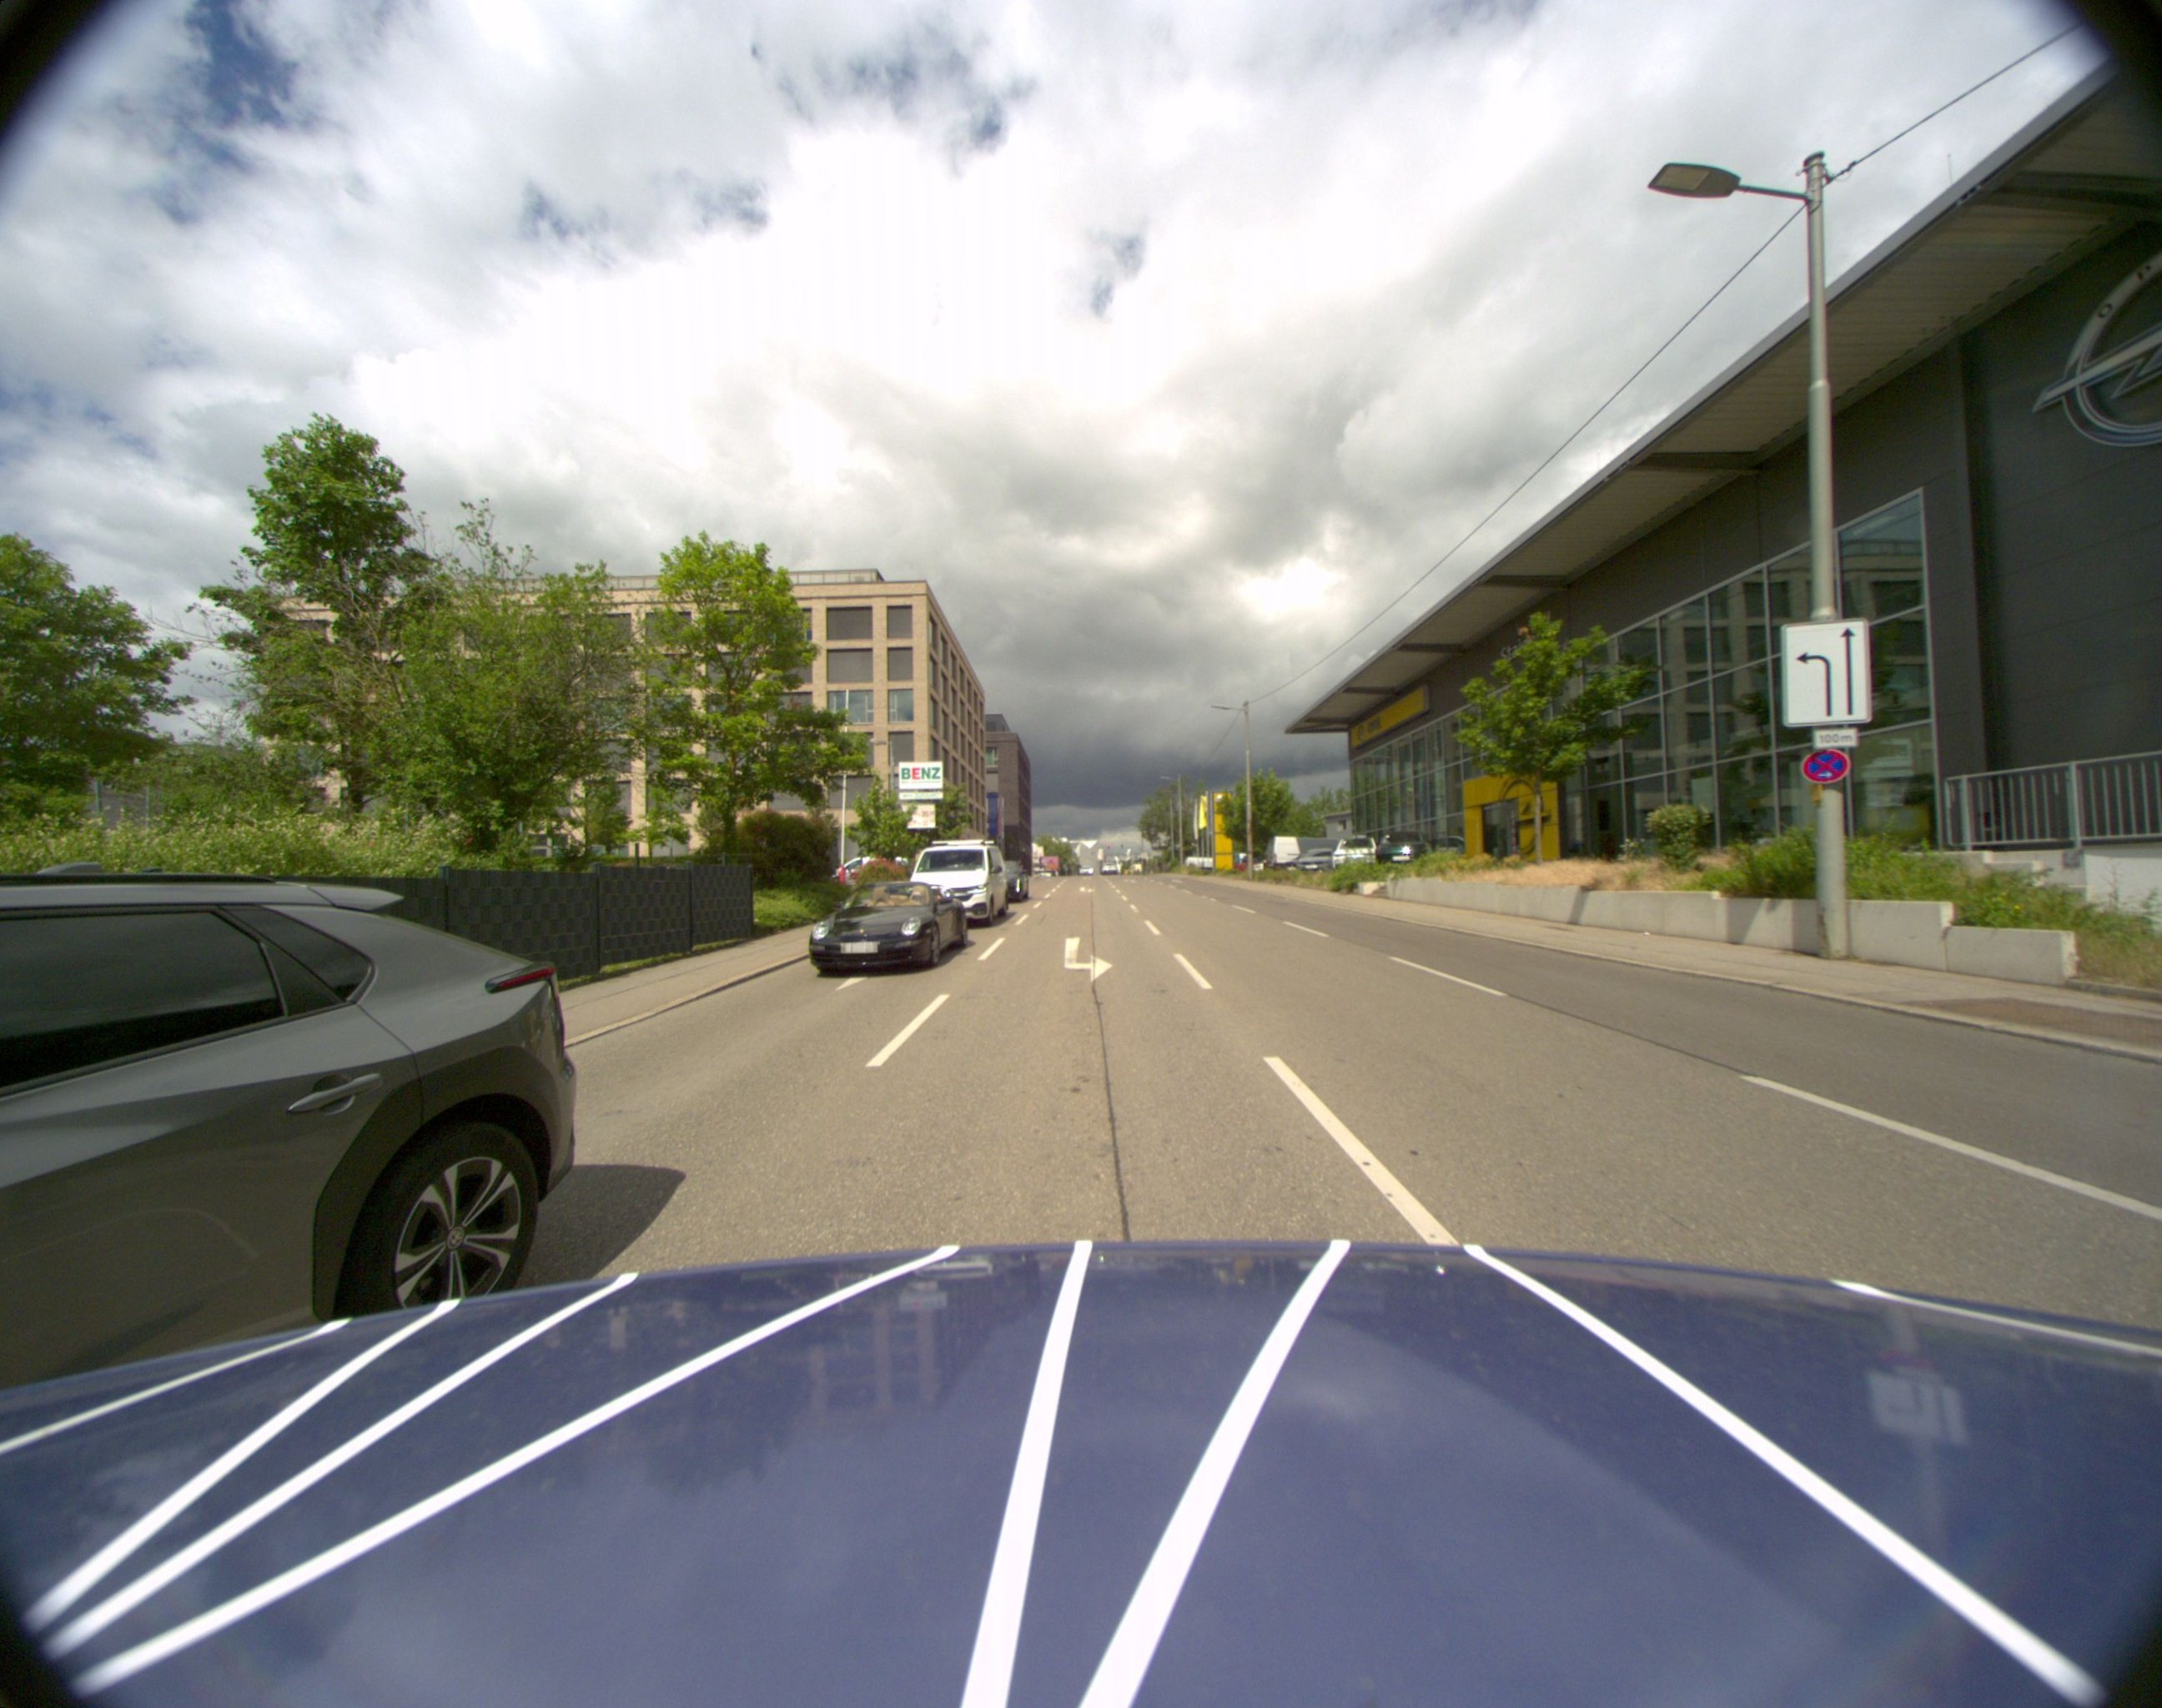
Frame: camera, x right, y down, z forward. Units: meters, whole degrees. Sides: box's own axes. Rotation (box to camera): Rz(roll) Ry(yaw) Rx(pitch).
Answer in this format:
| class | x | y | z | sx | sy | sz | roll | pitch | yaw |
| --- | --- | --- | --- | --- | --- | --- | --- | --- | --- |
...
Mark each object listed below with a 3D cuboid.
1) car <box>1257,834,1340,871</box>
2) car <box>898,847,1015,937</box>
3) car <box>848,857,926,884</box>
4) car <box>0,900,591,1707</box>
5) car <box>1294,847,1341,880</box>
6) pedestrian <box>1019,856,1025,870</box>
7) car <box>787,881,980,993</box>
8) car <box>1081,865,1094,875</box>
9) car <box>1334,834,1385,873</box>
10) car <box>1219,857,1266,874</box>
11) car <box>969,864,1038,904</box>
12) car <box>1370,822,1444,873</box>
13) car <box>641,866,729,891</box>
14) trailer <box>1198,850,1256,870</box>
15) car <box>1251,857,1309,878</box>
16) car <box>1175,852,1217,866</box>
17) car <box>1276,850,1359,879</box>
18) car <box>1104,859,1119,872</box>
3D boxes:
| class | x | y | z | sx | sy | sz | roll | pitch | yaw |
| --- | --- | --- | --- | --- | --- | --- | --- | --- | --- |
| car | 13.625 | -0.105 | 47.857 | 4.533 | 2.182 | 2.178 | -1 | 1 | -4 |
| car | -2.892 | 0.825 | 18.725 | 1.964 | 1.840 | 4.645 | -3 | 0 | 1 |
| car | -11.564 | 0.978 | 45.486 | 4.220 | 1.567 | 1.735 | -1 | 0 | -4 |
| car | -2.995 | 1.022 | 0.710 | 1.924 | 1.604 | 4.683 | -3 | 0 | 1 |
| car | 12.218 | 0.450 | 39.110 | 1.794 | 1.604 | 4.116 | -1 | 0 | 24 |
| pedestrian | -6.284 | 0.934 | 81.051 | 0.578 | 1.497 | 0.542 | -1 | 1 | 1 |
| car | -2.919 | 1.180 | 12.344 | 1.777 | 1.267 | 4.569 | -3 | 0 | 2 |
| car | 0.971 | 2.390 | 112.753 | 1.866 | 1.398 | 4.000 | -1 | 0 | 1 |
| car | 12.353 | -0.021 | 33.571 | 1.793 | 1.604 | 4.115 | -1 | 1 | 25 |
| car | 13.719 | 0.985 | 64.798 | 3.669 | 1.401 | 1.815 | -1 | 0 | 2 |
| car | -2.769 | 1.050 | 28.202 | 1.777 | 1.267 | 4.569 | -1 | 0 | 4 |
| car | 12.353 | -0.230 | 28.659 | 1.818 | 1.603 | 4.117 | -7 | -4 | 32 |
| car | -23.368 | 1.425 | 44.928 | 4.219 | 1.410 | 1.735 | -1 | 0 | -1 |
| trailer | 13.160 | 0.519 | 68.684 | 4.835 | 1.742 | 2.095 | -1 | 0 | -3 |
| car | 14.973 | 1.025 | 57.288 | 3.946 | 1.518 | 1.561 | -1 | 0 | -2 |
| car | 12.739 | 0.521 | 84.403 | 4.252 | 1.473 | 2.095 | -1 | 0 | -2 |
| car | 13.345 | 0.576 | 43.015 | 4.108 | 1.604 | 1.797 | -1 | 0 | -8 |
| car | 3.976 | 1.478 | 99.757 | 1.924 | 1.604 | 4.416 | 0 | 0 | 1 |
